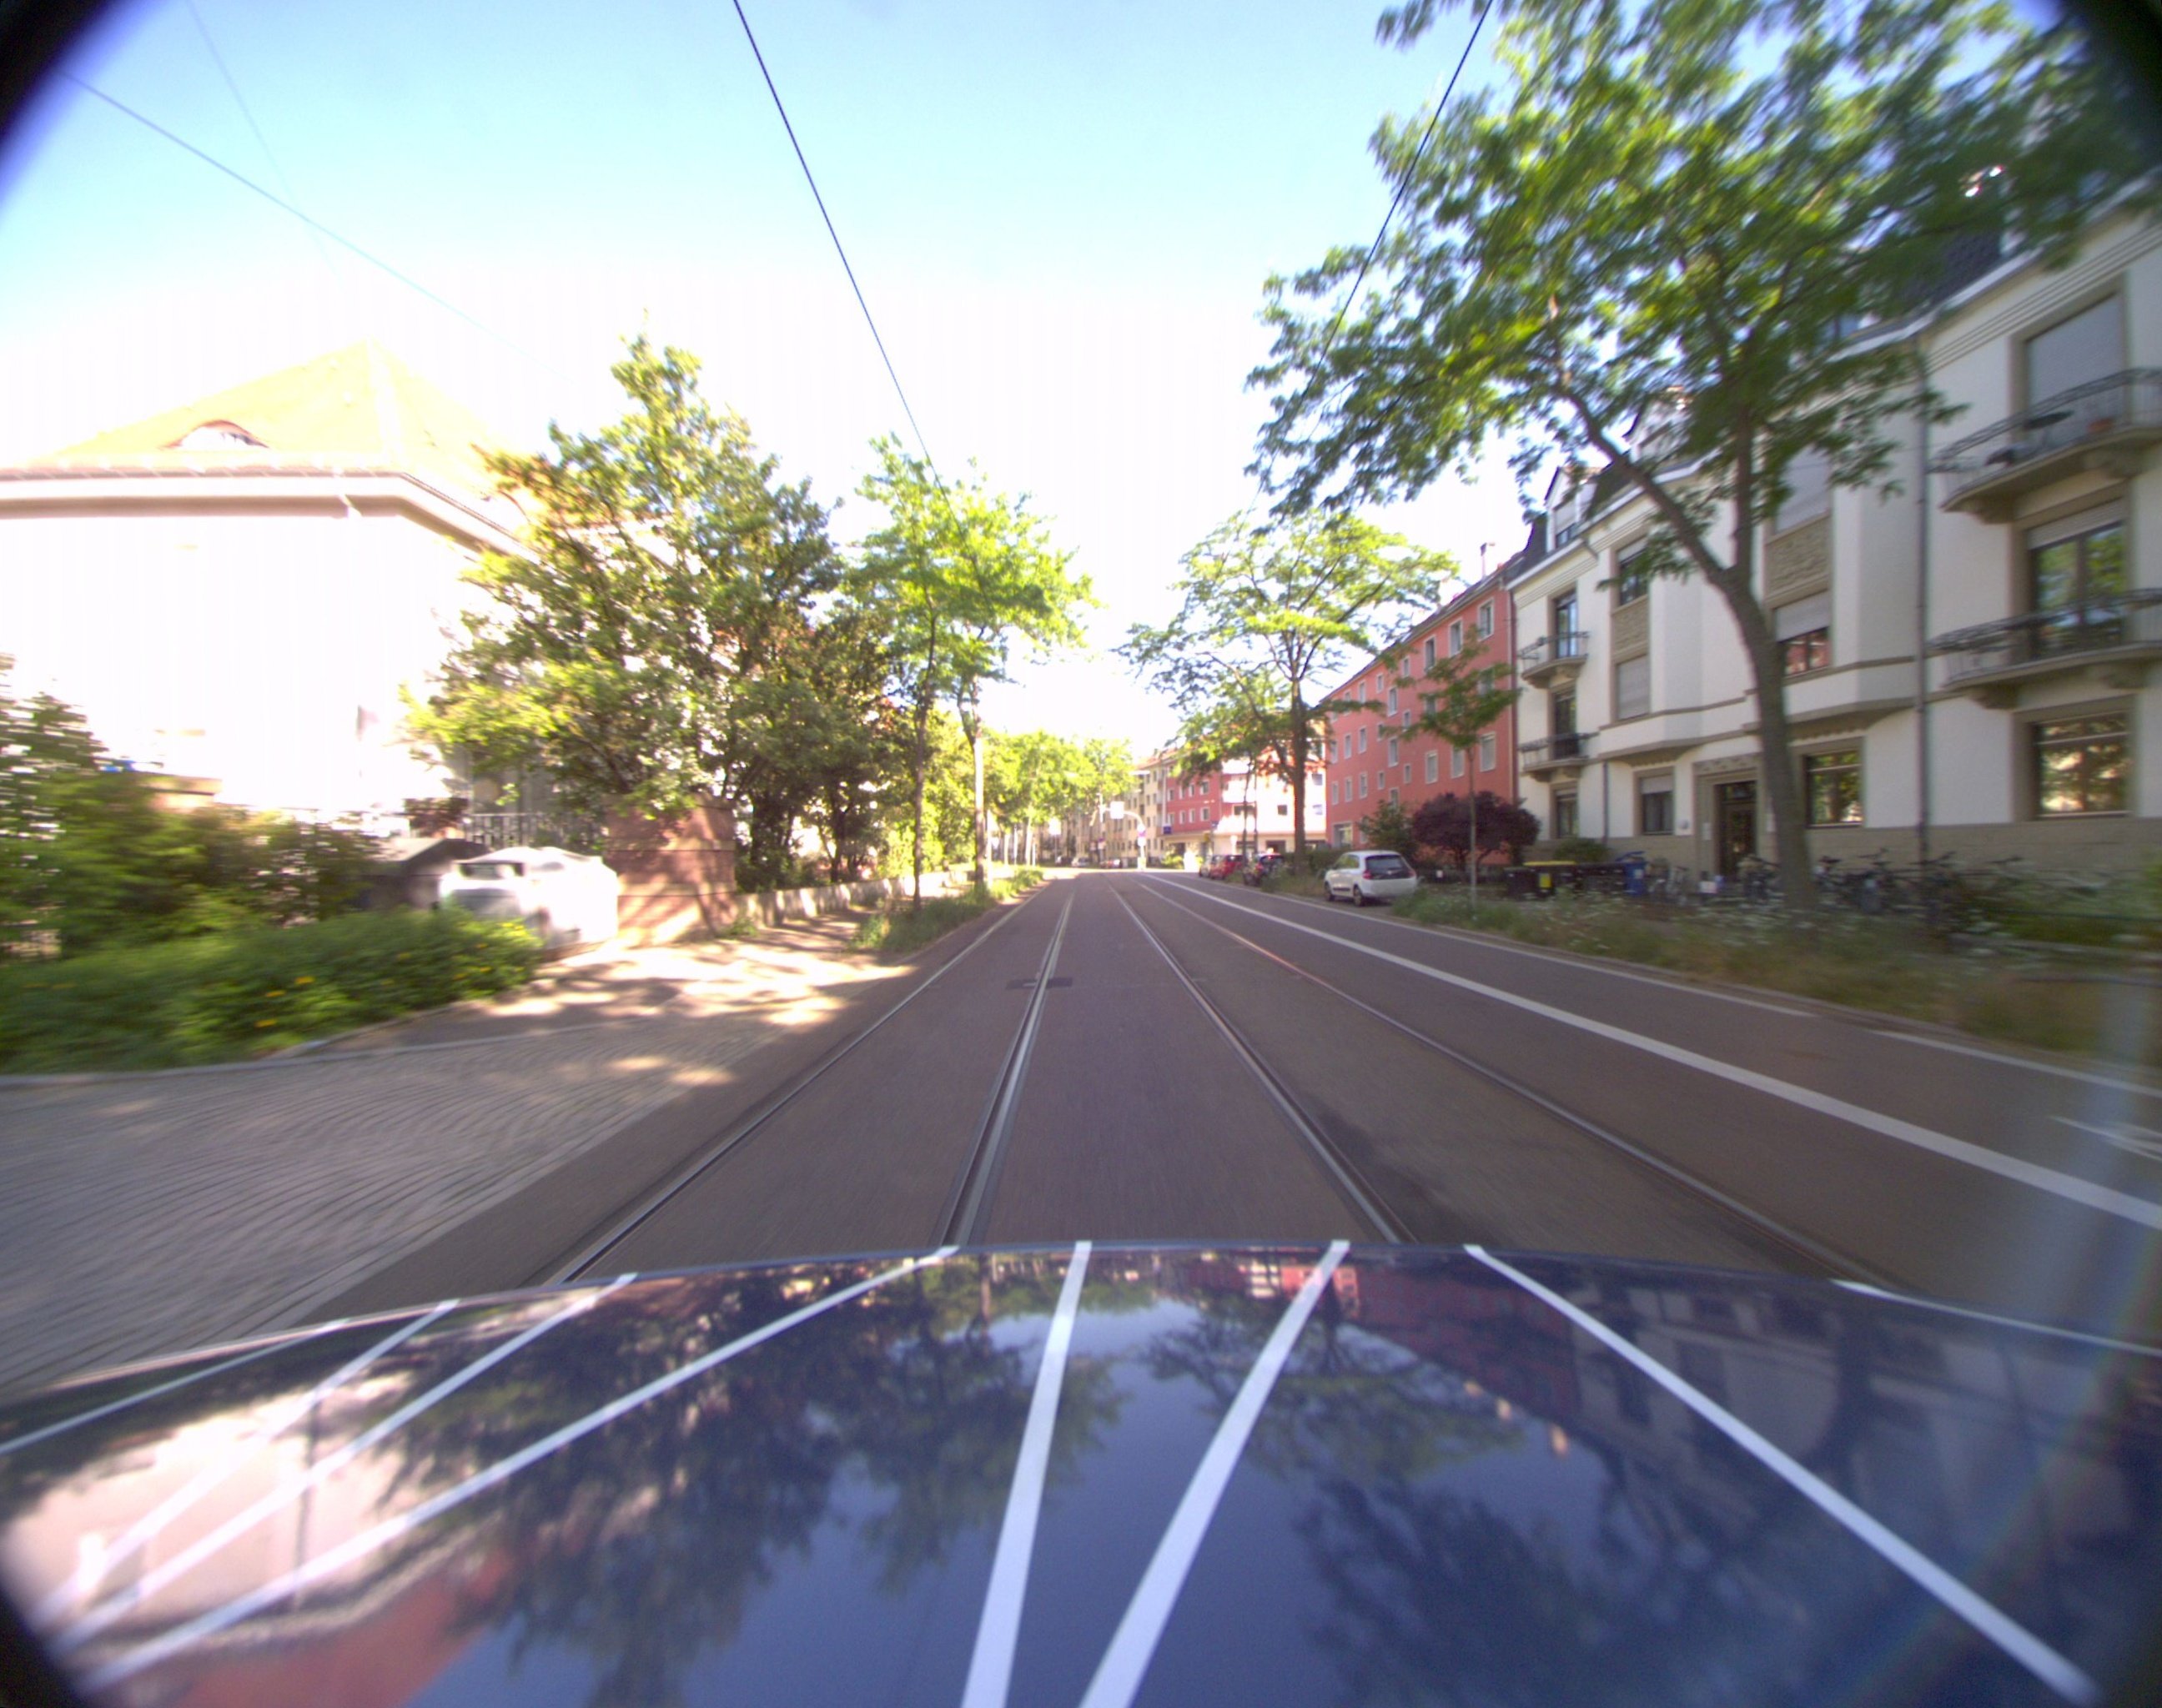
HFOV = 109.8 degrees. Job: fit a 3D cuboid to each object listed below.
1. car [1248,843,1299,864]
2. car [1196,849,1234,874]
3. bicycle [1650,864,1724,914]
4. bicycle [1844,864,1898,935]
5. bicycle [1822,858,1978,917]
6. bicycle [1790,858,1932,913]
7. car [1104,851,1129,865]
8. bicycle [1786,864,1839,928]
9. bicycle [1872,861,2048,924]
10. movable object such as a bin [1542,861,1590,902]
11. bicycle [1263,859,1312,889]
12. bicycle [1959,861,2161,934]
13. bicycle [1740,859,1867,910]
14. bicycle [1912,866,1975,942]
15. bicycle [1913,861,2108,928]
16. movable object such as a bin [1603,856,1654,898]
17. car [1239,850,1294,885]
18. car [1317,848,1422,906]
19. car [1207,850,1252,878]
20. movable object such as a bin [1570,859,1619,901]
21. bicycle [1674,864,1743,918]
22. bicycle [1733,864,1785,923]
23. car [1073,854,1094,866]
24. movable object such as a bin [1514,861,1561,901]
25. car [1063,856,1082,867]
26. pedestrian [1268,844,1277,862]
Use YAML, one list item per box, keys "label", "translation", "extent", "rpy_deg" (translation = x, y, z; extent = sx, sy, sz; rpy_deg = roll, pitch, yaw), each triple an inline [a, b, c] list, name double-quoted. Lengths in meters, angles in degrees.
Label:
- label: "car"
  translation: [16.816, -0.019, 66.400]
  extent: [4.280, 1.769, 1.791]
  rpy_deg: [0, 1, 17]
- label: "car"
  translation: [8.488, 0.448, 48.426]
  extent: [1.577, 1.497, 4.095]
  rpy_deg: [-2, 0, -1]
- label: "bicycle"
  translation: [13.088, 0.726, 16.388]
  extent: [1.865, 0.991, 0.557]
  rpy_deg: [-1, 1, -28]
- label: "bicycle"
  translation: [12.500, 0.680, 12.002]
  extent: [1.866, 0.991, 0.557]
  rpy_deg: [-1, 1, -43]
- label: "bicycle"
  translation: [14.865, 0.614, 13.872]
  extent: [1.857, 0.990, 0.559]
  rpy_deg: [-3, -1, 42]
- label: "bicycle"
  translation: [15.041, 0.619, 14.723]
  extent: [1.857, 0.990, 0.559]
  rpy_deg: [-3, -1, 42]
- label: "car"
  translation: [3.906, 0.431, 84.533]
  extent: [1.880, 1.390, 3.996]
  rpy_deg: [-4, 0, -11]
- label: "bicycle"
  translation: [12.570, 0.689, 13.038]
  extent: [1.866, 0.991, 0.557]
  rpy_deg: [-1, 1, -43]
- label: "bicycle"
  translation: [14.864, 0.661, 12.925]
  extent: [1.857, 0.990, 0.559]
  rpy_deg: [-3, -1, 35]
- label: "movable object such as a bin"
  translation: [13.103, 0.728, 20.547]
  extent: [0.739, 1.048, 0.895]
  rpy_deg: [-1, 1, 0]
- label: "bicycle"
  translation: [8.201, 0.781, 30.200]
  extent: [1.817, 1.114, 0.543]
  rpy_deg: [-1, 1, 1]
- label: "bicycle"
  translation: [14.459, 0.640, 11.211]
  extent: [1.857, 0.990, 0.559]
  rpy_deg: [-3, -1, 35]
- label: "bicycle"
  translation: [14.944, 0.649, 15.785]
  extent: [1.857, 0.990, 0.559]
  rpy_deg: [-3, -1, 42]
- label: "bicycle"
  translation: [12.638, 0.690, 11.163]
  extent: [1.866, 0.991, 0.557]
  rpy_deg: [-1, 1, -43]
- label: "bicycle"
  translation: [14.770, 0.649, 12.153]
  extent: [1.857, 0.990, 0.559]
  rpy_deg: [-3, -1, 35]
- label: "movable object such as a bin"
  translation: [14.792, 0.612, 20.557]
  extent: [0.739, 1.107, 0.895]
  rpy_deg: [-1, 1, 0]
- label: "car"
  translation: [8.343, 0.562, 34.434]
  extent: [1.558, 1.446, 3.667]
  rpy_deg: [-2, 0, 0]
- label: "car"
  translation: [8.470, 0.625, 22.635]
  extent: [1.629, 1.526, 3.689]
  rpy_deg: [-2, 0, -1]
- label: "car"
  translation: [8.410, 0.523, 43.332]
  extent: [1.577, 1.446, 4.095]
  rpy_deg: [-2, 0, -2]
- label: "movable object such as a bin"
  translation: [13.869, 0.694, 20.546]
  extent: [0.739, 1.078, 0.895]
  rpy_deg: [-1, 1, 0]
- label: "bicycle"
  translation: [12.672, 0.715, 15.328]
  extent: [1.865, 0.991, 0.557]
  rpy_deg: [-1, 1, -33]
- label: "bicycle"
  translation: [12.633, 0.697, 14.147]
  extent: [1.866, 0.991, 0.557]
  rpy_deg: [-1, 1, -43]
- label: "car"
  translation: [0.267, 0.703, 97.363]
  extent: [1.880, 1.390, 3.996]
  rpy_deg: [-4, 0, -11]
- label: "movable object such as a bin"
  translation: [12.347, 0.725, 20.563]
  extent: [0.739, 1.035, 0.895]
  rpy_deg: [-1, 1, 0]
- label: "car"
  translation: [-1.153, 1.008, 104.770]
  extent: [1.880, 1.390, 3.996]
  rpy_deg: [-4, 0, -11]
- label: "pedestrian"
  translation: [18.199, -0.114, 72.297]
  extent: [0.803, 1.755, 0.509]
  rpy_deg: [0, 1, 20]
